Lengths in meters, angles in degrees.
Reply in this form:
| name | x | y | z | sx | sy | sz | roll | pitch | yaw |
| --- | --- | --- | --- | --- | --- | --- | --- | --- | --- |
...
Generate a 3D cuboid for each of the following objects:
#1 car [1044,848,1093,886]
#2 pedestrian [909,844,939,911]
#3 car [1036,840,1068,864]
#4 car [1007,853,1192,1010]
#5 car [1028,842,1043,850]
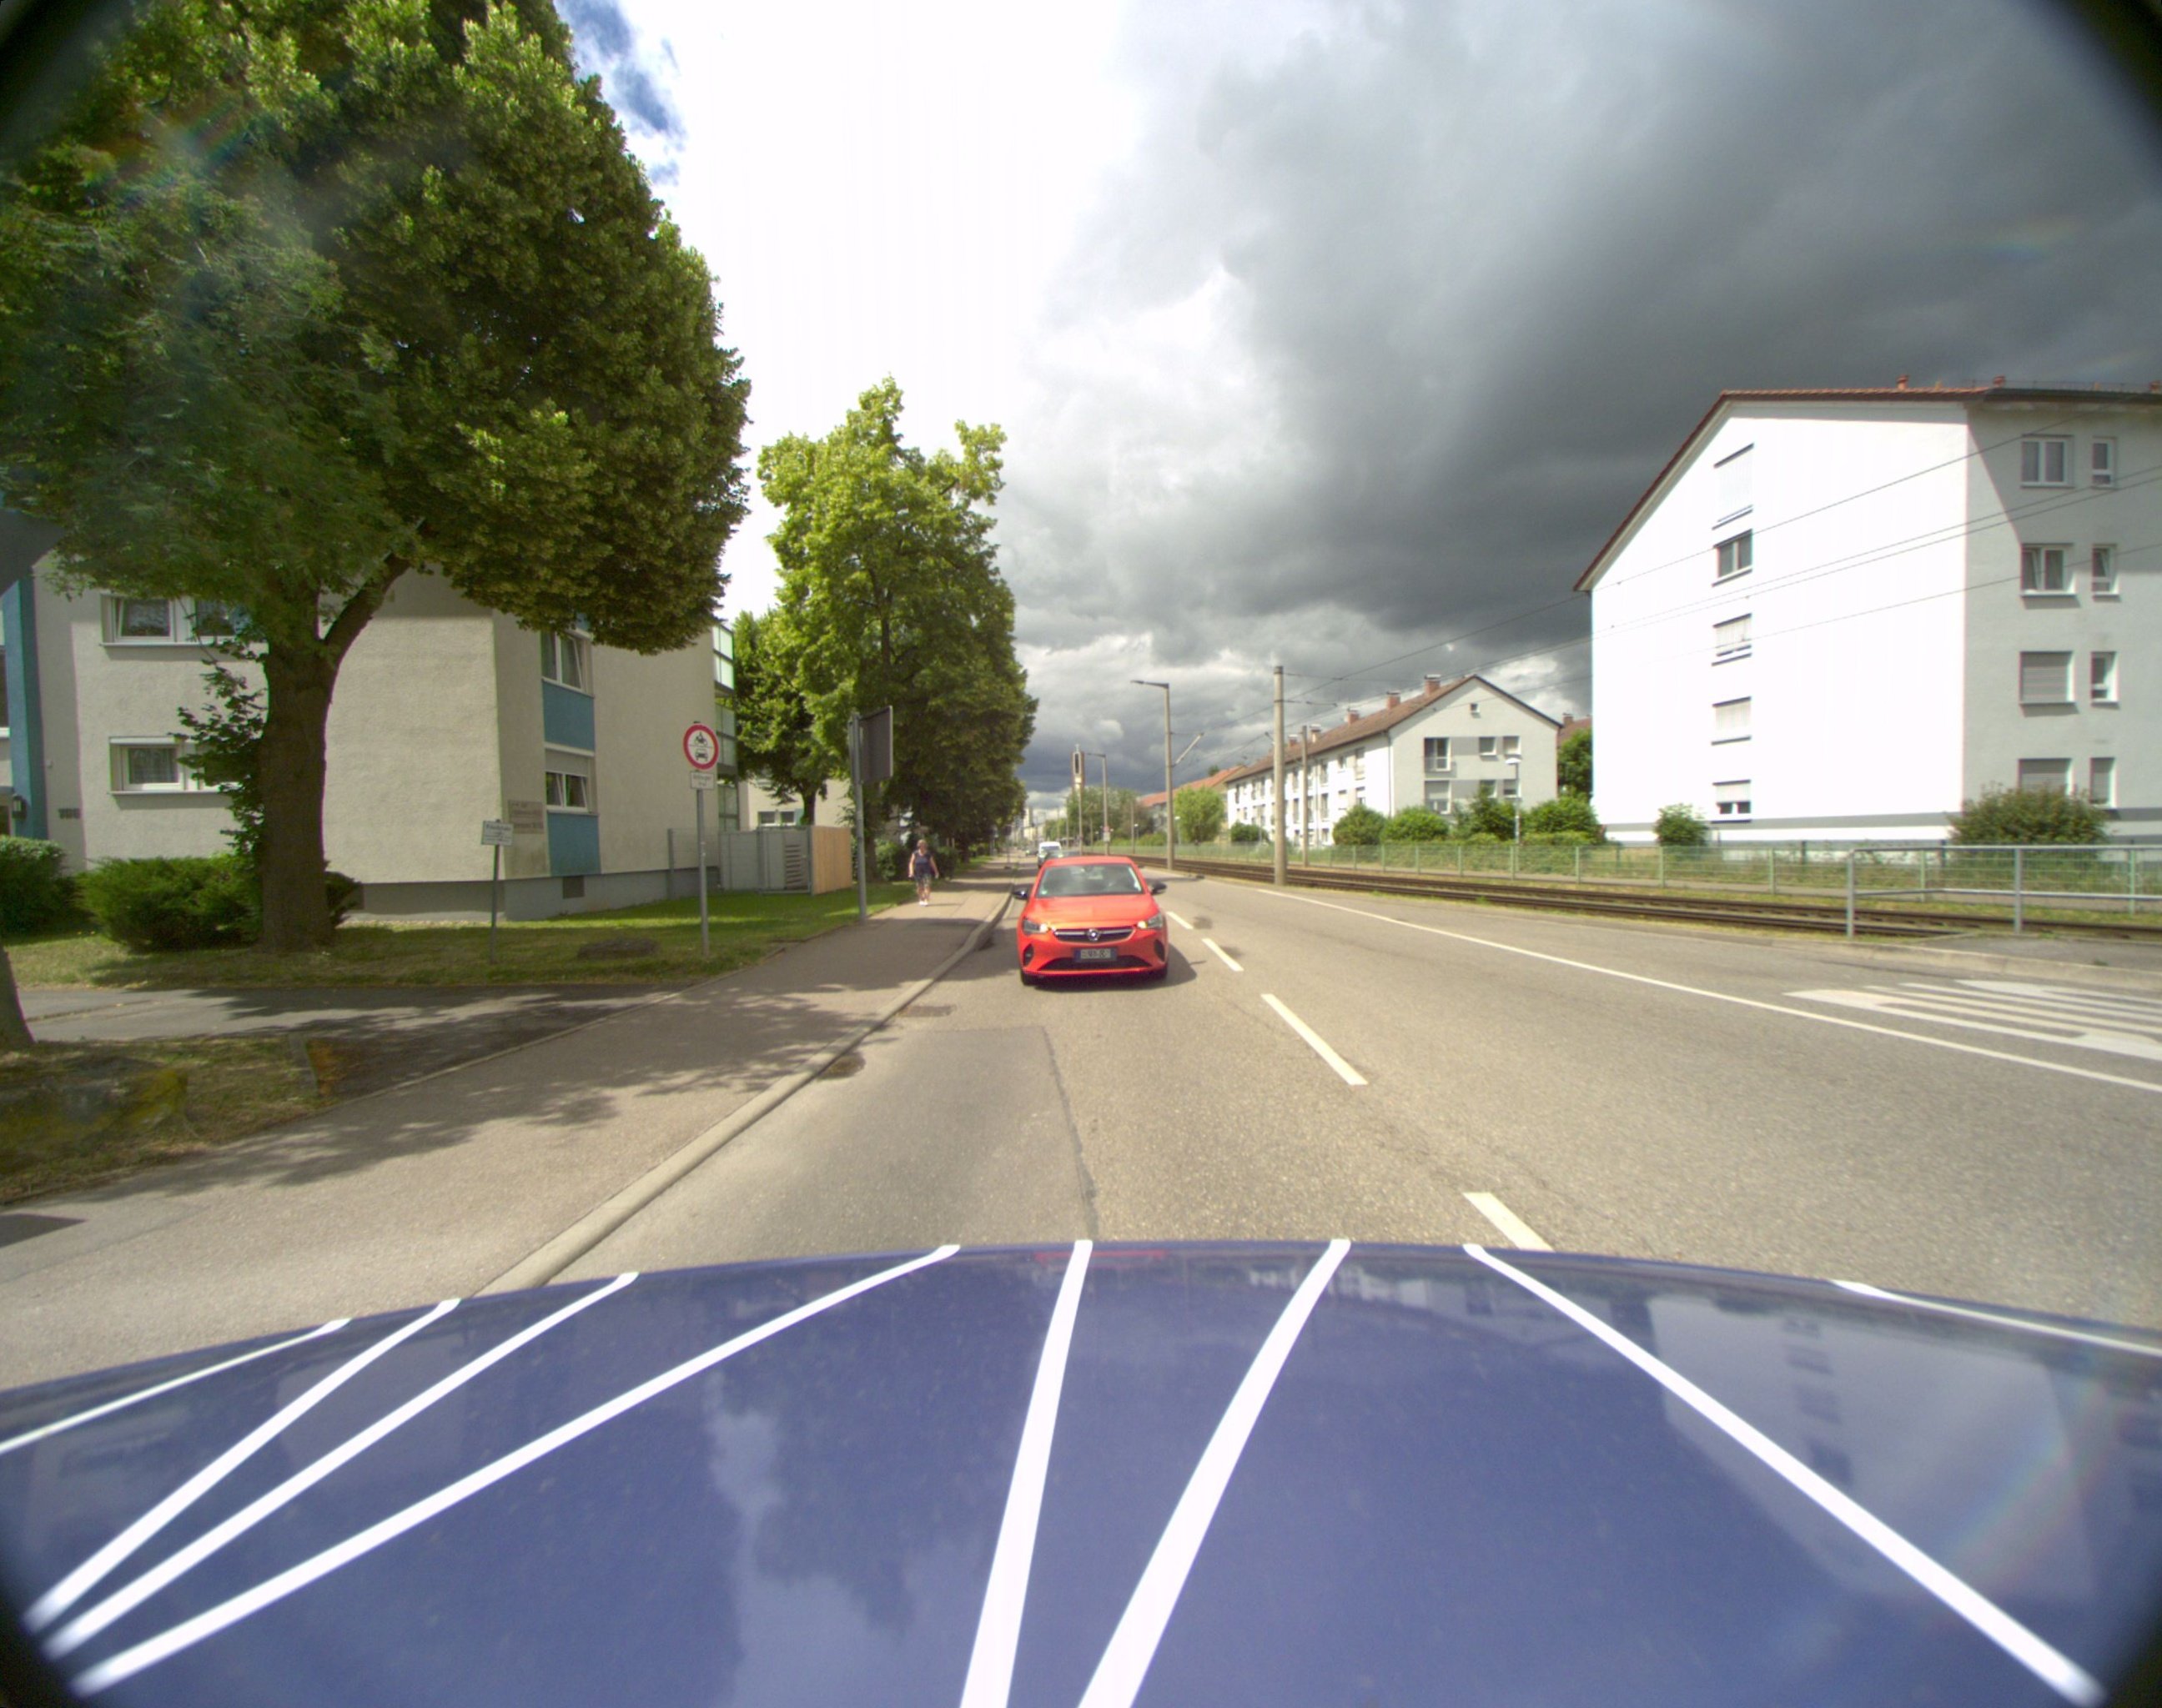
| name | x | y | z | sx | sy | sz | roll | pitch | yaw |
| --- | --- | --- | --- | --- | --- | --- | --- | --- | --- |
| car | -0.570 | 0.468 | 30.771 | 1.764 | 1.390 | 3.998 | -1 | 1 | -4 |
| pedestrian | -3.966 | 0.584 | 19.239 | 0.684 | 1.651 | 0.830 | -1 | 2 | -9 |
| car | -2.102 | -0.184 | 54.288 | 2.000 | 1.598 | 3.997 | -1 | 1 | -6 |
| car | 0.014 | 0.850 | 10.044 | 1.767 | 1.548 | 3.998 | -3 | -1 | -8 |
| car | -7.248 | -1.269 | 121.831 | 1.918 | 1.309 | 4.000 | 0 | 1 | 4 |
